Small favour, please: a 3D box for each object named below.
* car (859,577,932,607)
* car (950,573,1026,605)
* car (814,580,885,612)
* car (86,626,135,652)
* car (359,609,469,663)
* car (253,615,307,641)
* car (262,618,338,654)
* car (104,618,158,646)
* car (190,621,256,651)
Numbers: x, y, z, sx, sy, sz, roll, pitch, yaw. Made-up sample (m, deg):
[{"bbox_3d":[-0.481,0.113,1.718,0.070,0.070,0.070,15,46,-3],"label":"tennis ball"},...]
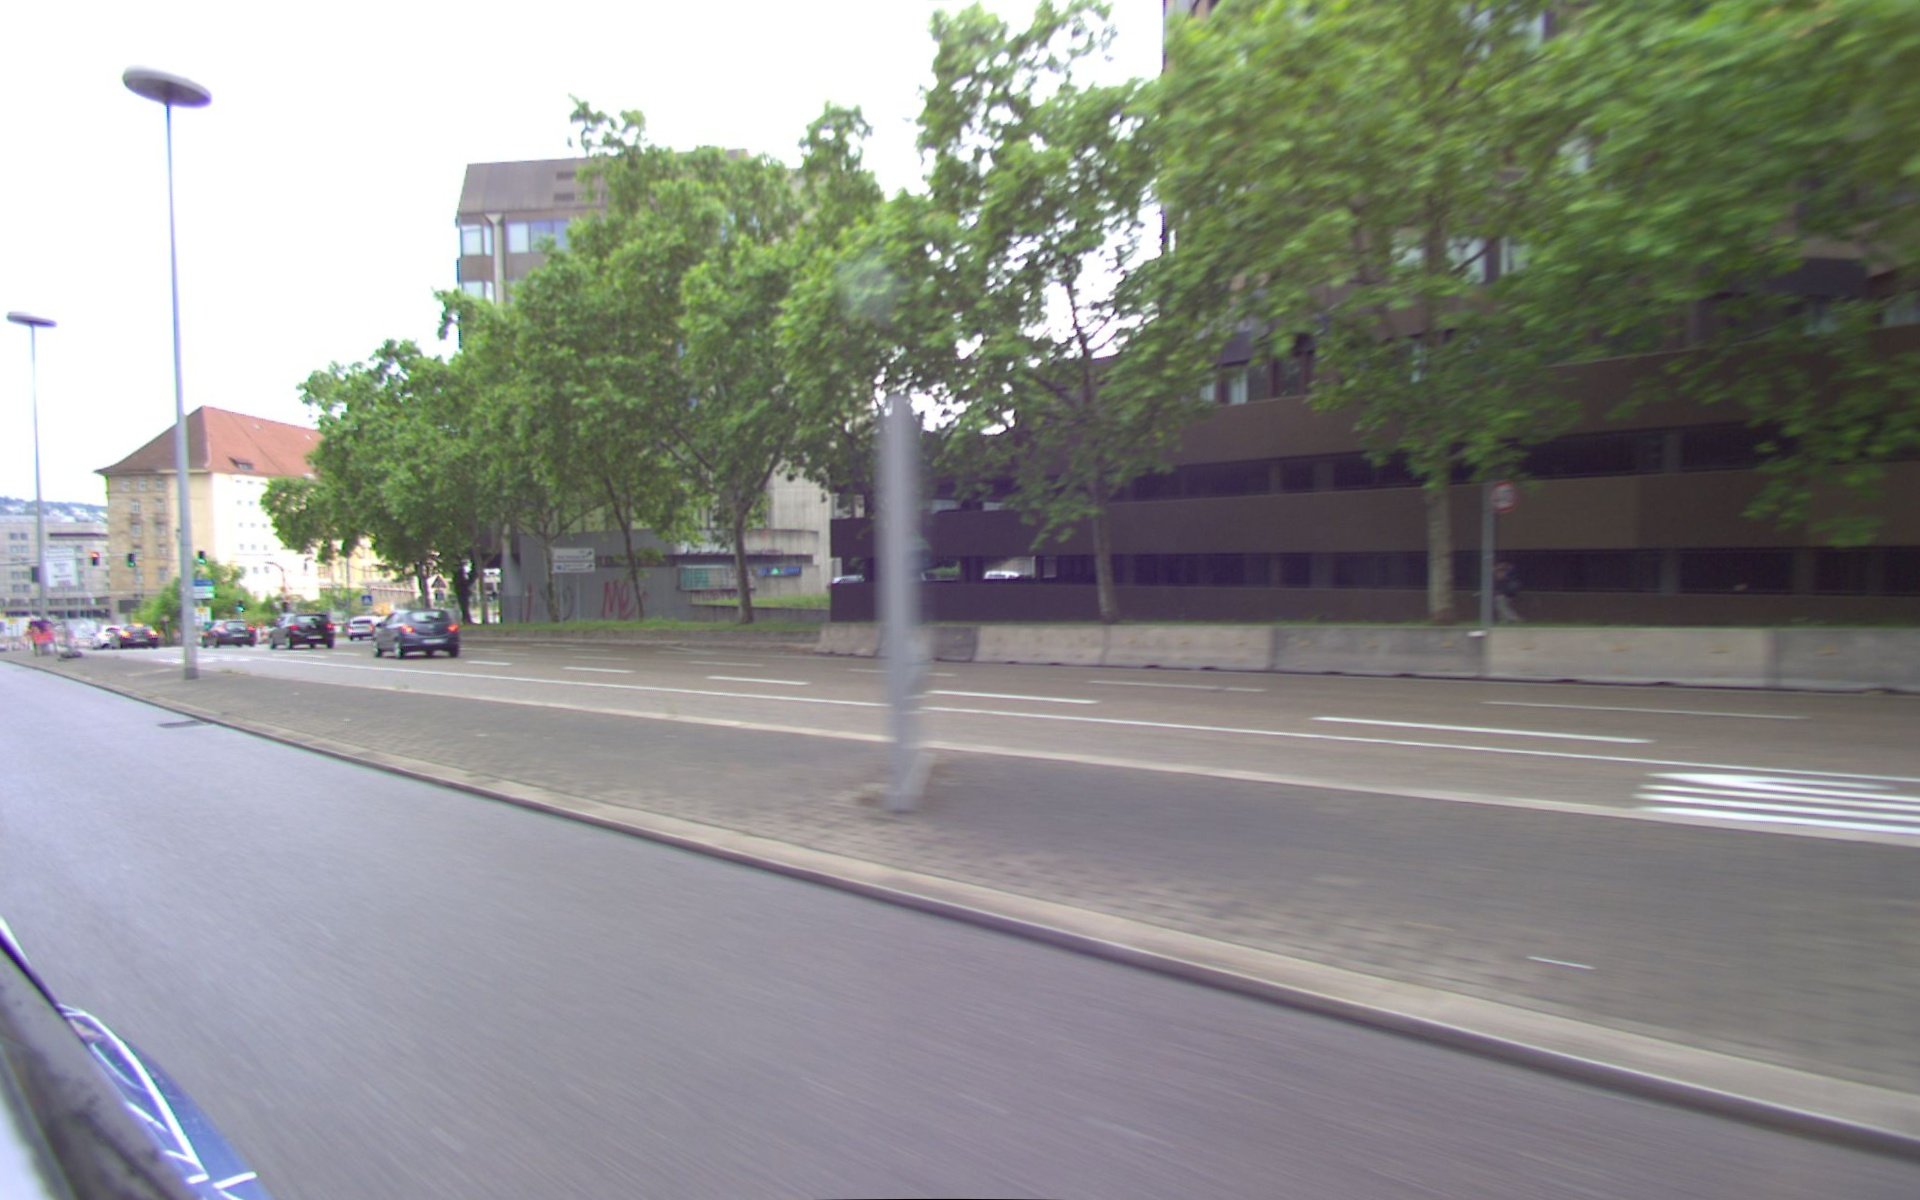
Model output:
[{"bbox_3d":[-3.905,-0.477,61.222,3.931,1.730,2.007,-2,0,-23],"label":"car"},{"bbox_3d":[1.608,-0.637,58.659,3.996,1.730,1.974,-1,0,39],"label":"car"},{"bbox_3d":[-6.266,-0.209,57.620,3.939,1.730,2.003,-1,0,-5],"label":"car"},{"bbox_3d":[-51.459,2.339,61.271,3.863,1.497,1.775,-1,0,43],"label":"car"},{"bbox_3d":[-16.765,1.100,30.983,1.911,1.511,4.176,-1,-2,-43],"label":"car"},{"bbox_3d":[-43.670,1.782,64.969,4.506,1.511,1.913,-1,0,43],"label":"car"},{"bbox_3d":[-28.255,1.527,43.295,4.077,1.447,1.912,-2,-1,45],"label":"car"},{"bbox_3d":[-46.553,1.770,56.814,3.863,1.497,1.775,-1,0,43],"label":"car"},{"bbox_3d":[-38.185,1.876,52.381,4.506,1.447,1.913,-2,-1,43],"label":"car"}]
